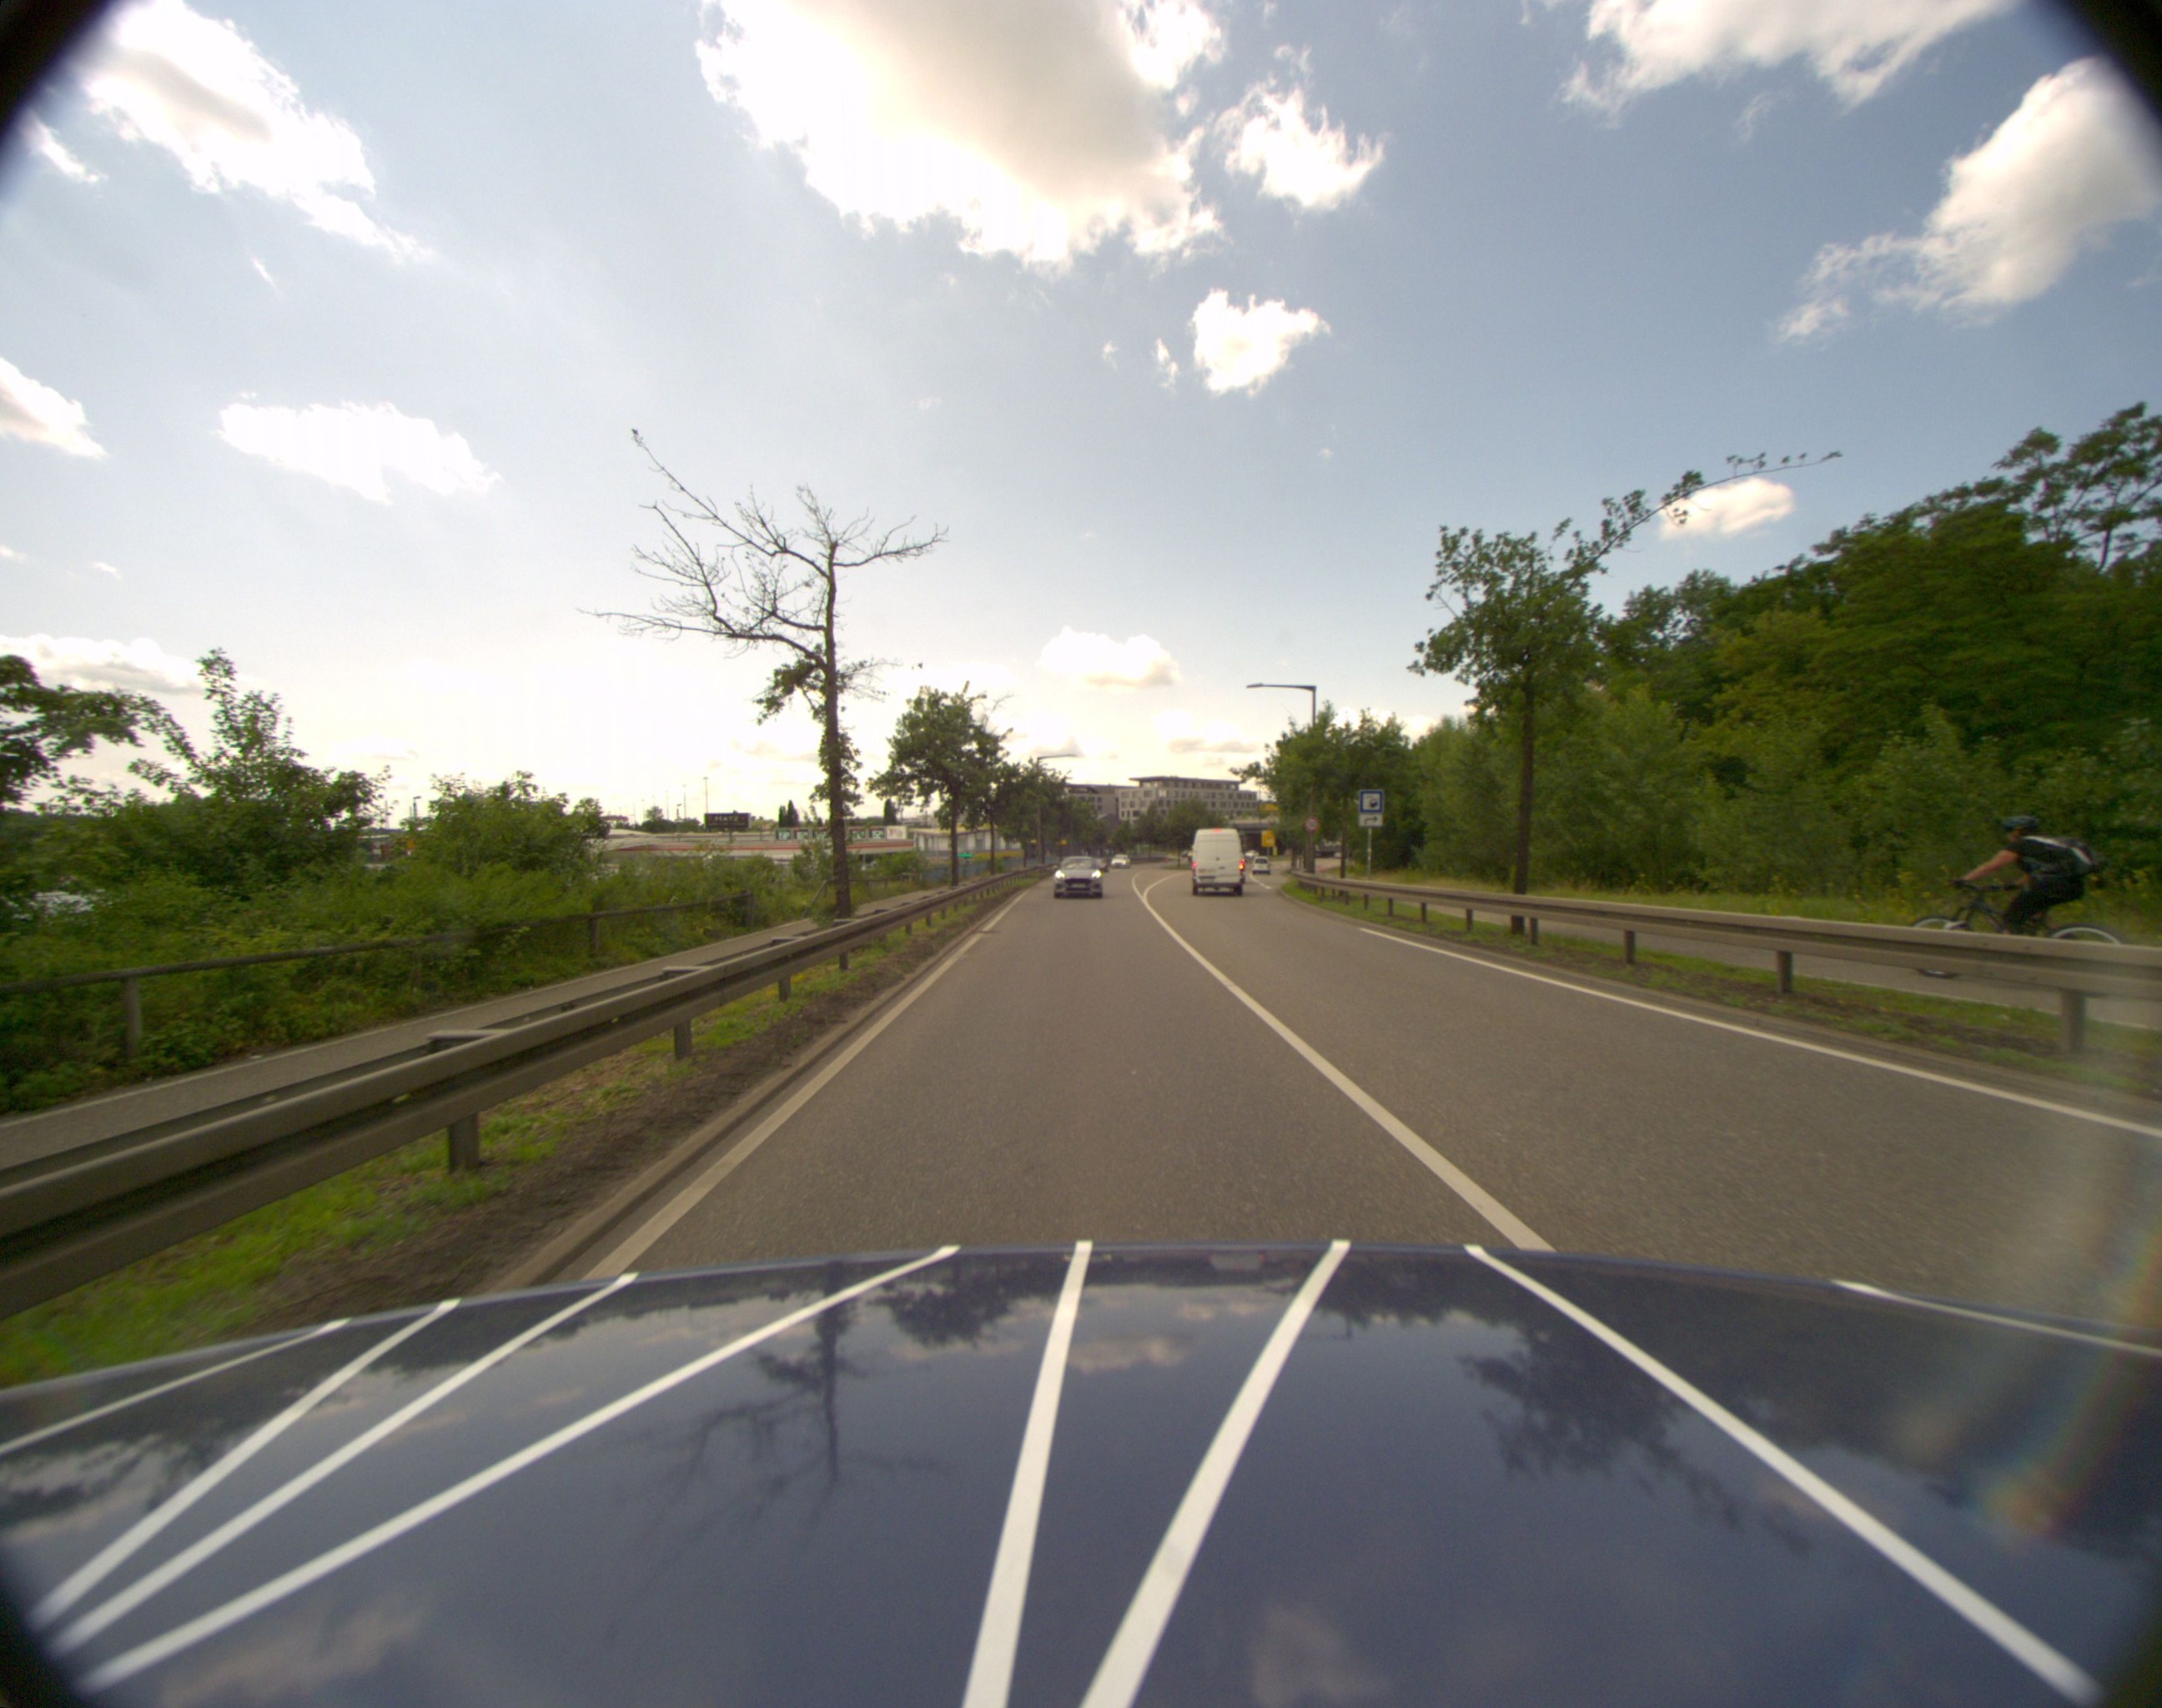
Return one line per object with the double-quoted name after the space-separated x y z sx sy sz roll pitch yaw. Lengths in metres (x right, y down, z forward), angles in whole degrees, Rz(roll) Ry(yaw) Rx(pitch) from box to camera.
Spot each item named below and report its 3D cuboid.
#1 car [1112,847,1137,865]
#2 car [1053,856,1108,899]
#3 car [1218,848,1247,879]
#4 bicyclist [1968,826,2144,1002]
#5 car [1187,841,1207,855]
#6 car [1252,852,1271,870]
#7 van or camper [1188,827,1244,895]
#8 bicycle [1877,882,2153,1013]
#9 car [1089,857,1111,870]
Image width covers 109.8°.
5.234 0.231 91.700 1.995 2.002 4.005 3 2 18 "car"
0.040 0.844 29.386 1.827 1.516 4.001 -1 0 4 "car"
9.836 0.564 49.168 1.778 1.856 5.271 0 0 12 "car"
9.036 0.524 7.084 0.486 1.544 0.880 0 1 1 "bicyclist"
20.039 -1.027 130.835 1.995 2.306 4.894 -2 1 26 "car"
18.879 0.696 79.499 1.777 1.852 4.129 1 0 12 "car"
5.545 0.271 31.892 1.997 2.567 5.984 0 0 7 "van or camper"
8.999 0.838 7.450 0.558 1.057 1.754 0 1 1 "bicycle"
1.836 0.890 72.392 1.846 1.201 4.001 1 0 4 "car"
